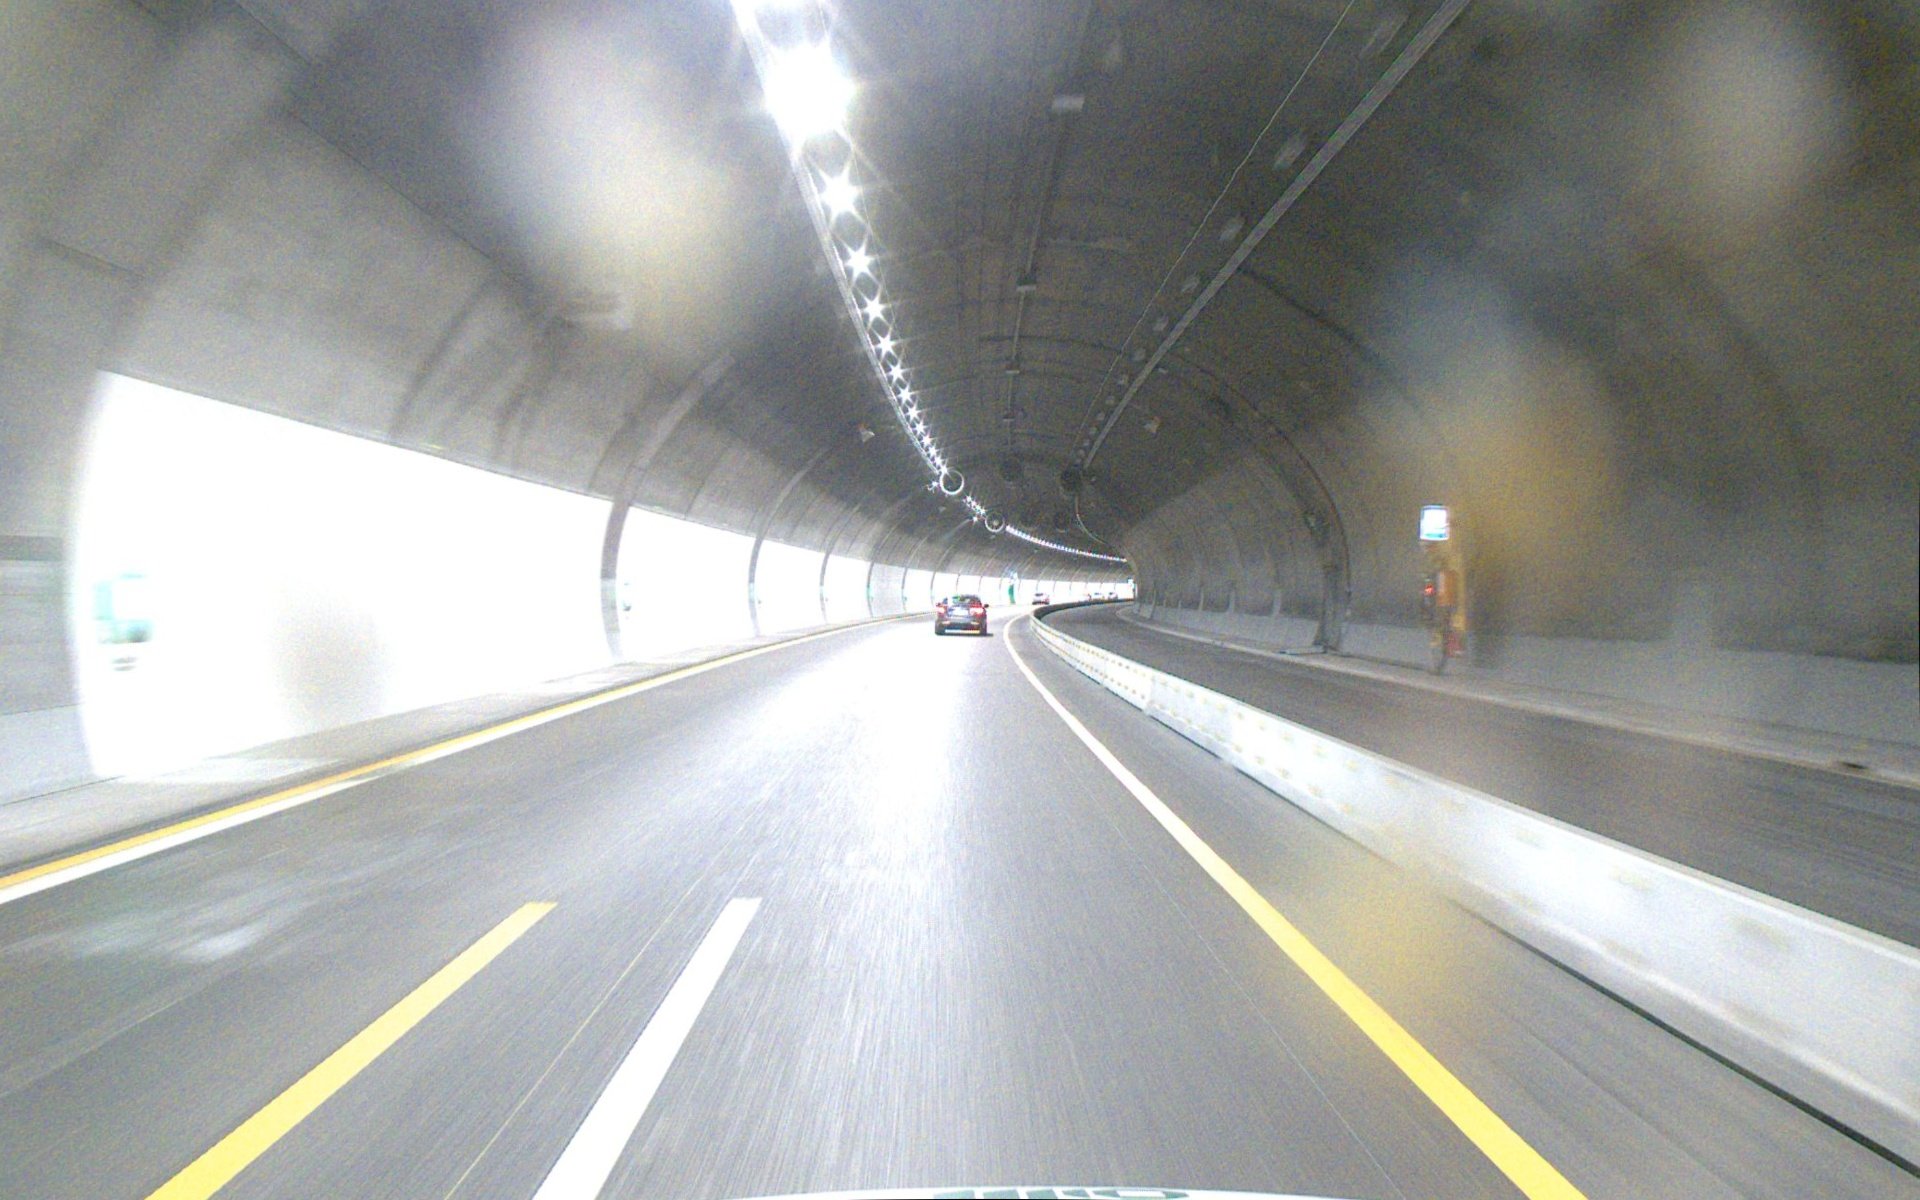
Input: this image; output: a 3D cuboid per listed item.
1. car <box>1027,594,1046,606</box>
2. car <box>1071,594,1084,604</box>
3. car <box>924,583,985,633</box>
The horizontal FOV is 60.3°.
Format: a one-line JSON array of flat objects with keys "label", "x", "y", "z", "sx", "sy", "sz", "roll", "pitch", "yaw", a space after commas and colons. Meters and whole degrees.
[{"label": "car", "x": 9.448, "y": 0.008, "z": 203.193, "sx": 2.119, "sy": 1.512, "sz": 4.003, "roll": 0, "pitch": 1, "yaw": 6}, {"label": "car", "x": 16.594, "y": -0.172, "z": 234.261, "sx": 1.561, "sy": 1.356, "sz": 3.753, "roll": 1, "pitch": 0, "yaw": 8}, {"label": "car", "x": -0.182, "y": 0.257, "z": 59.225, "sx": 2.097, "sy": 1.735, "sz": 4.000, "roll": 0, "pitch": 0, "yaw": 0}]
